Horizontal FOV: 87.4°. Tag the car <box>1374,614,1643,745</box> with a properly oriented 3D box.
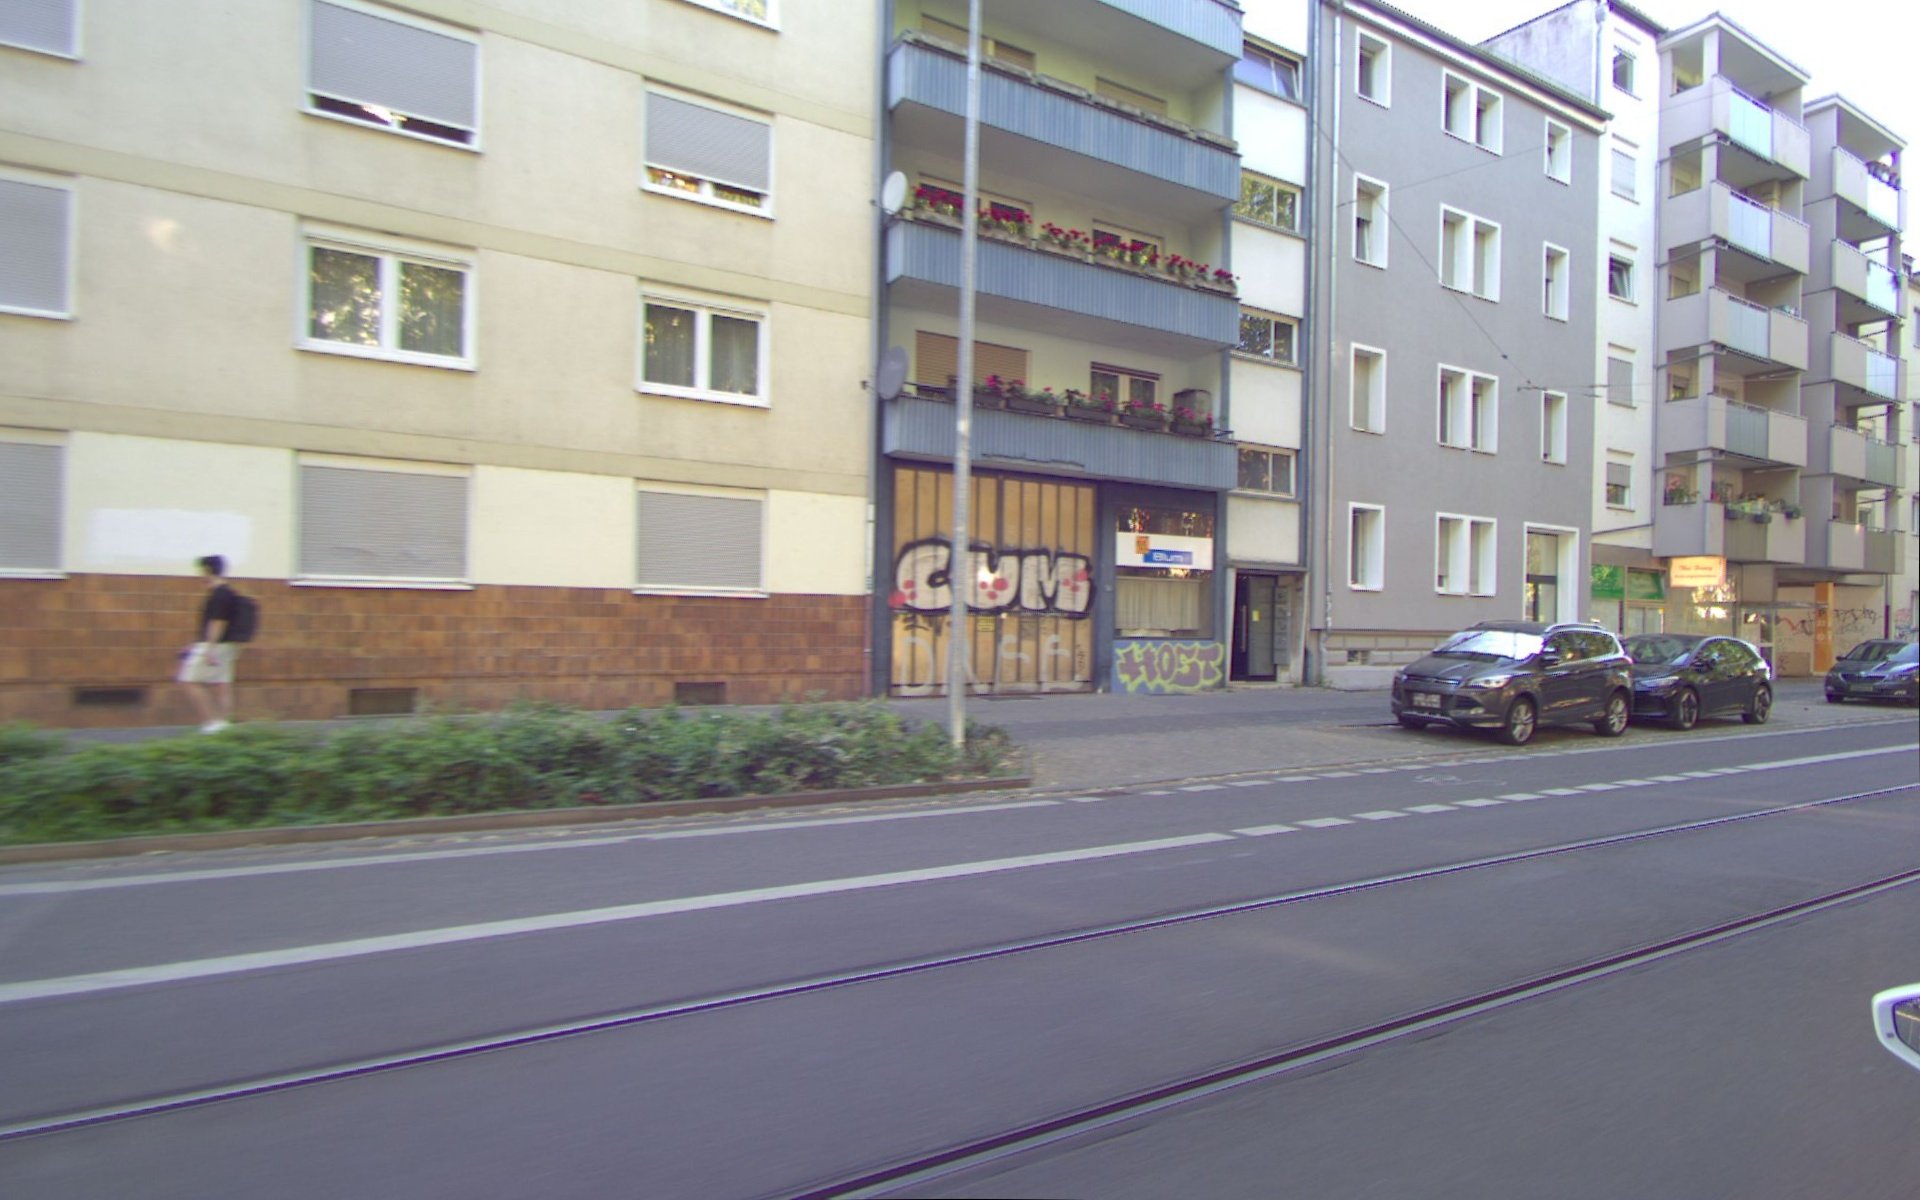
[{"bbox_3d":[8.378,1.121,15.245,4.194,1.672,1.693,2,1,-32],"label":"car"}]

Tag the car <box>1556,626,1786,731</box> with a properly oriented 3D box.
[{"bbox_3d":[12.610,1.319,17.755,4.192,1.565,1.694,2,1,-30],"label":"car"}]

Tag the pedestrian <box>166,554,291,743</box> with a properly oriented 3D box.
[{"bbox_3d":[-7.545,0.490,10.406,0.954,1.850,0.660,2,-1,-32],"label":"pedestrian"}]

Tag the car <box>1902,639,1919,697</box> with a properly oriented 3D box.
[{"bbox_3d":[25.885,1.746,25.658,3.940,1.422,1.479,1,-1,-28],"label":"car"}]

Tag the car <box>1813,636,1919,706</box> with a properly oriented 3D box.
[{"bbox_3d":[21.555,1.593,23.290,3.794,1.456,1.645,2,-1,-32],"label":"car"}]
